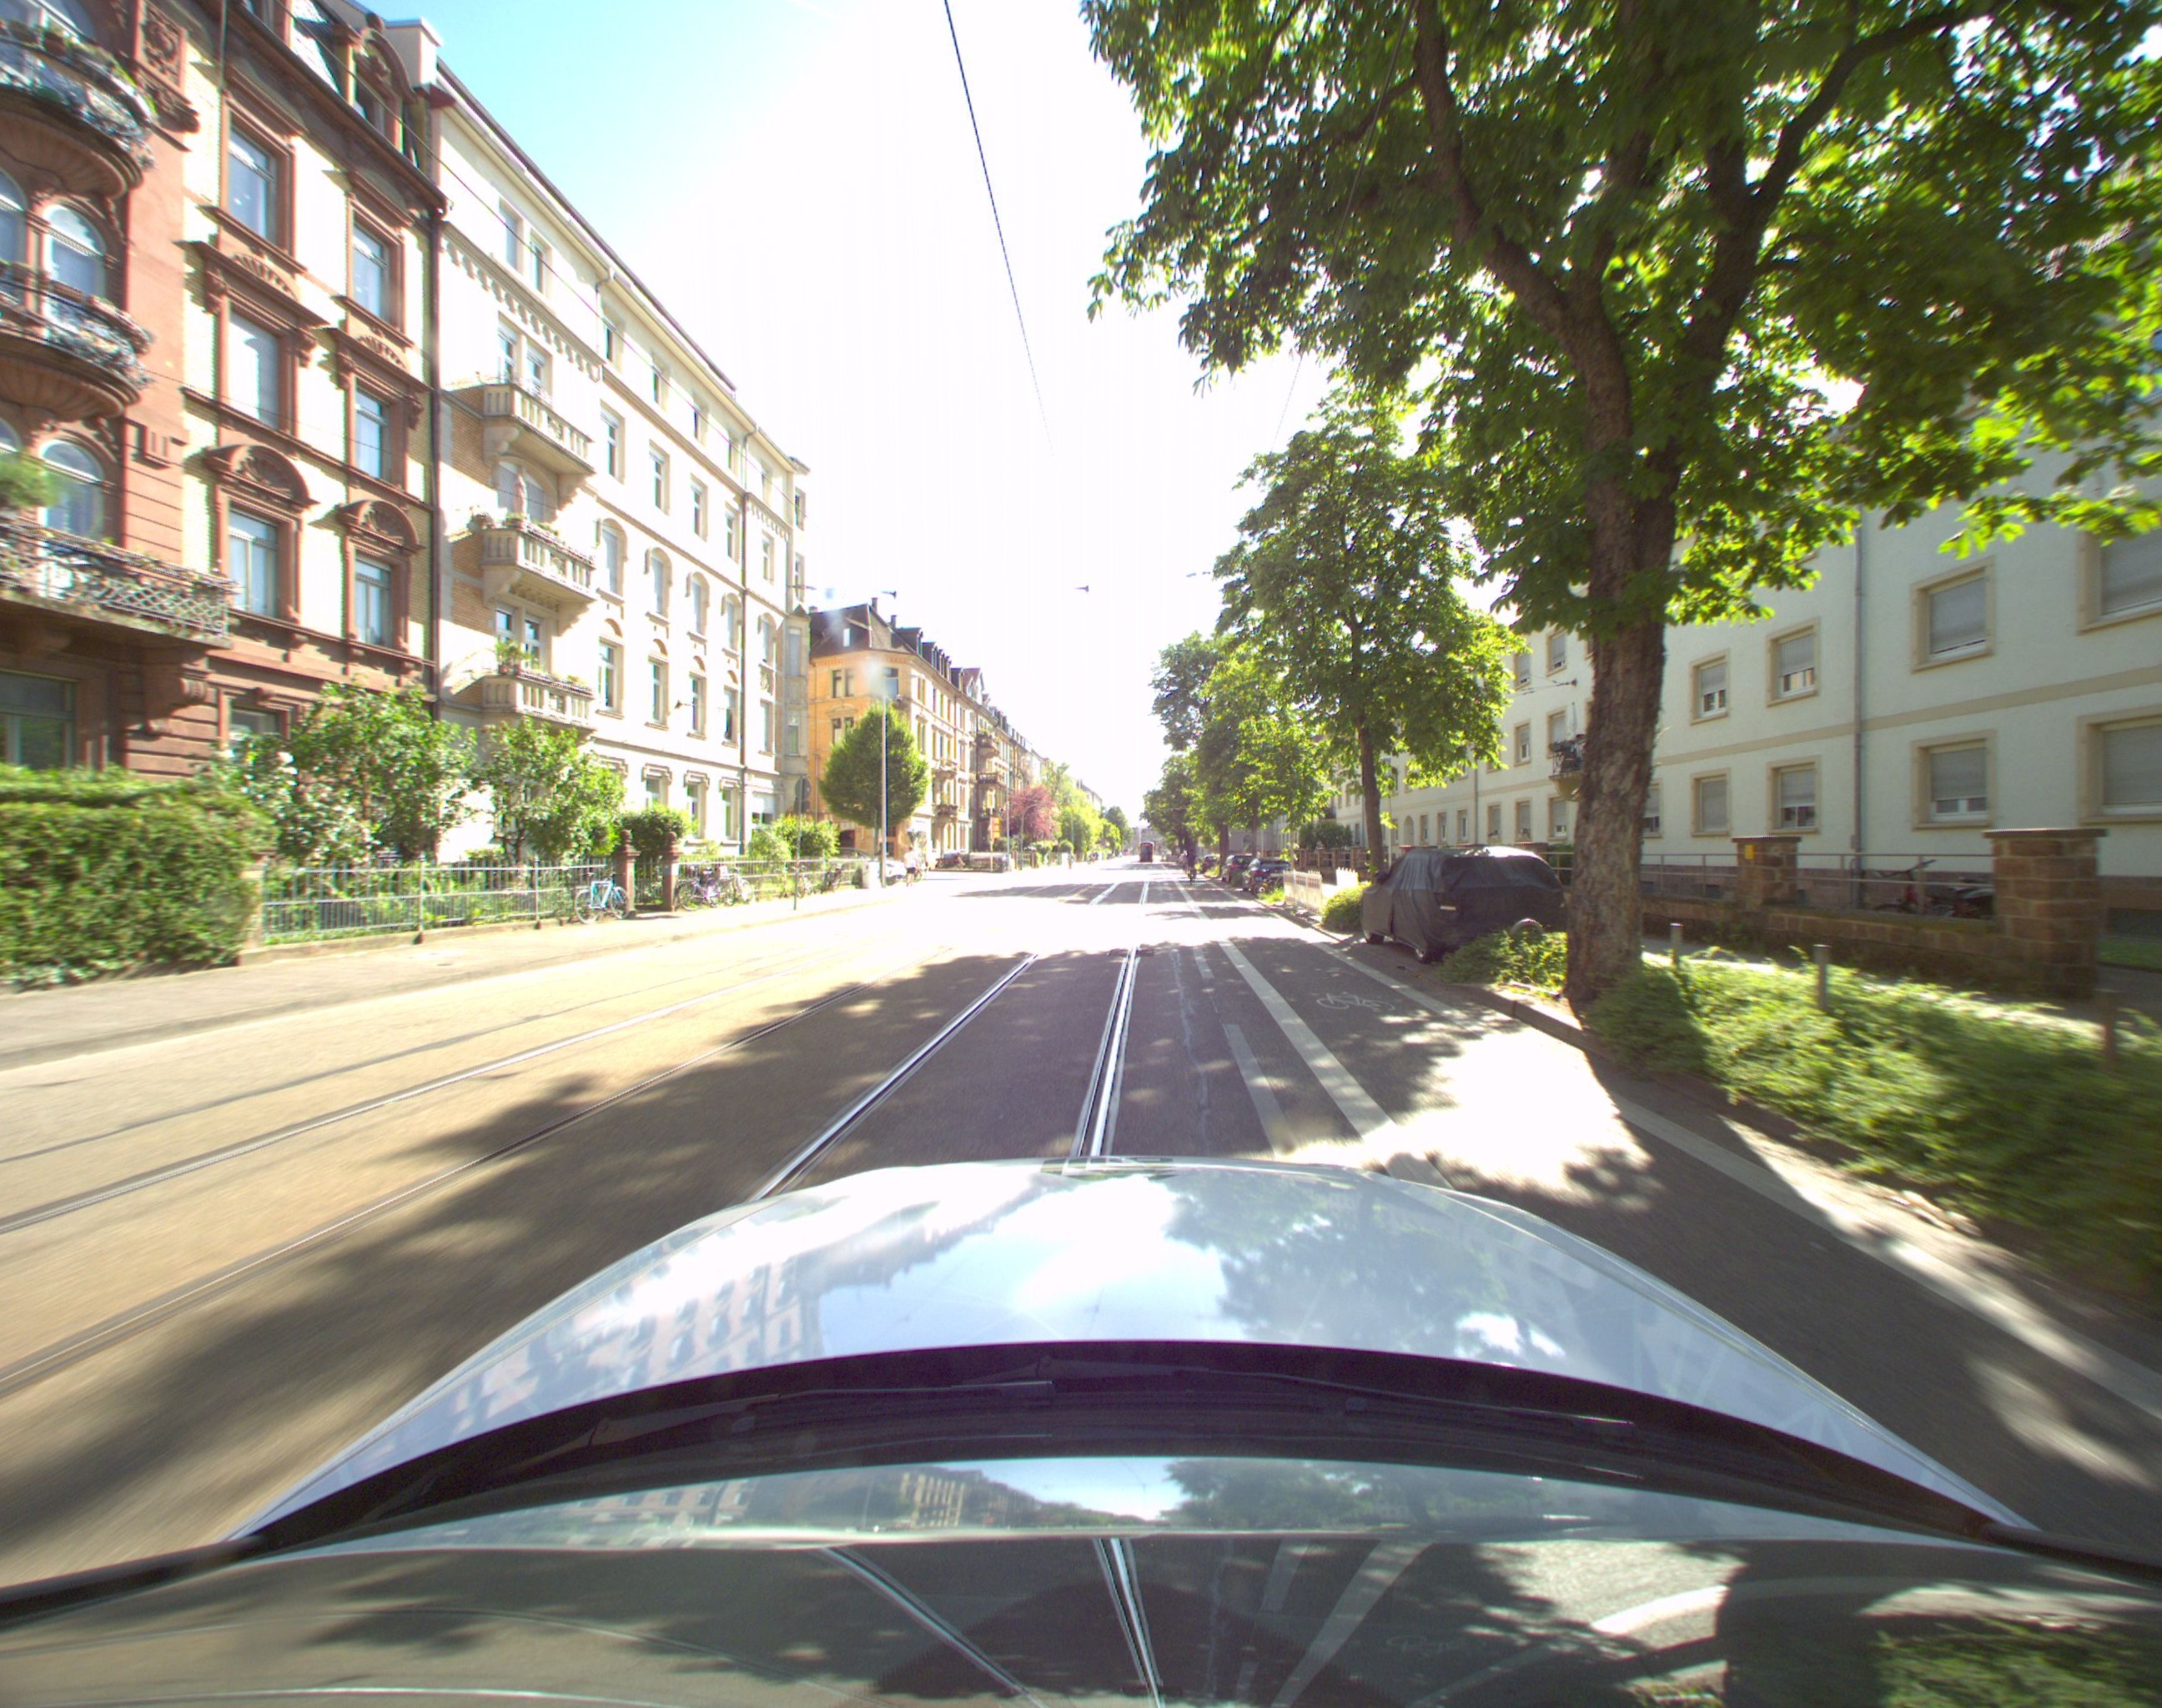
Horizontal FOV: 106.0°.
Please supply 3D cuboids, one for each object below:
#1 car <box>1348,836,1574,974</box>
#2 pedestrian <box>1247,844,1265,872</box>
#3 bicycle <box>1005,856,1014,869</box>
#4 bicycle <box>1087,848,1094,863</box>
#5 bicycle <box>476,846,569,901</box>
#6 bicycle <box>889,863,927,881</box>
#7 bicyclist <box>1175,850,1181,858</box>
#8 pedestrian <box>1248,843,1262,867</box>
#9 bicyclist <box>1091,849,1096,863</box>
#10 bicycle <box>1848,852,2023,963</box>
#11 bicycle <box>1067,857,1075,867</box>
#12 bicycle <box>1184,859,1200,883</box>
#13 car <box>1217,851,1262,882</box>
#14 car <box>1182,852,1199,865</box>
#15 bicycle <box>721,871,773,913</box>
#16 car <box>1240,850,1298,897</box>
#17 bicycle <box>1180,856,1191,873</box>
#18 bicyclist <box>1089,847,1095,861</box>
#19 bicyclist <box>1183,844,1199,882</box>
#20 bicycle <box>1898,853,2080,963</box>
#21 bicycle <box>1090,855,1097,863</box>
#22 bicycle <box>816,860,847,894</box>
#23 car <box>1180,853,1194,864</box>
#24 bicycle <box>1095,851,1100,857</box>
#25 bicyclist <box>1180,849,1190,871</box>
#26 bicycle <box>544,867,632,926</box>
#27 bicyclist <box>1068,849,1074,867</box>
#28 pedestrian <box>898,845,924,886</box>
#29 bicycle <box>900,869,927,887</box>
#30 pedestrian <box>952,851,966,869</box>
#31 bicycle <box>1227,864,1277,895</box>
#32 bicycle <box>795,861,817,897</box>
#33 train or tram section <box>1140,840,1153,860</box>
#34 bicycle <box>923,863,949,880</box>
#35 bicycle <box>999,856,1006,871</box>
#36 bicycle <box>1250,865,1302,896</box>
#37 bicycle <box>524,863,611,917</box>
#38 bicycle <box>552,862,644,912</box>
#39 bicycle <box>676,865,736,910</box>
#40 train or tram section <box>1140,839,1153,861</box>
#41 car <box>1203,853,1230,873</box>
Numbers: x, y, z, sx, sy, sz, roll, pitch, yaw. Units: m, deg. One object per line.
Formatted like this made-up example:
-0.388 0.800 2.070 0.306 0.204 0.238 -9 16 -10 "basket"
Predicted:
5.665 0.640 12.825 1.736 1.766 4.483 1 0 4 "car"
11.253 0.245 52.305 0.602 1.771 0.905 -3 0 -25 "pedestrian"
-5.537 0.666 63.124 0.333 1.001 1.872 1 0 5 "bicycle"
1.186 0.161 99.374 0.659 1.859 2.264 1 0 6 "bicycle"
-12.912 0.443 18.840 1.754 1.154 0.565 3 1 4 "bicycle"
-8.789 0.916 41.505 1.794 0.914 0.615 1 -2 -31 "bicycle"
16.622 -0.033 139.390 0.765 1.291 0.737 1 0 21 "bicyclist"
12.714 0.054 59.462 0.755 1.724 0.583 1 0 34 "pedestrian"
1.688 0.272 110.757 0.657 1.801 0.616 -2 -1 5 "bicyclist"
10.360 0.597 9.961 0.445 1.238 1.677 -1 0 4 "bicycle"
-0.926 0.756 76.186 0.458 0.926 2.206 -2 0 5 "bicycle"
5.505 0.839 40.404 0.688 1.112 1.721 1 0 5 "bicycle"
8.262 0.616 42.746 1.712 1.473 4.250 -1 0 4 "car"
13.280 0.494 98.731 1.622 1.436 4.667 -1 0 2 "car"
-9.147 1.028 22.356 0.560 1.033 1.770 1 1 4 "bicycle"
7.503 0.737 32.901 1.658 1.761 4.236 0 0 4 "car"
7.171 0.711 56.086 0.688 1.112 1.920 1 0 5 "bicycle"
1.311 -0.001 99.367 0.642 1.795 0.957 1 0 5 "bicyclist"
5.451 0.433 40.415 0.724 1.848 0.838 1 0 4 "bicyclist"
11.145 0.611 10.080 0.445 1.238 1.677 -1 0 4 "bicycle"
1.714 0.699 110.932 0.688 1.112 1.721 -2 0 5 "bicycle"
-8.380 0.768 27.311 0.567 1.033 1.750 0 2 -31 "bicycle"
15.181 0.615 117.122 1.740 1.420 4.005 -1 0 4 "car"
3.134 -0.047 154.140 0.633 1.069 1.824 1 0 -12 "bicycle"
7.158 0.395 56.161 0.632 1.468 0.617 1 0 5 "bicyclist"
-9.867 0.831 16.367 0.560 1.033 1.770 1 2 5 "bicycle"
-0.957 0.387 76.125 0.462 1.618 0.745 -2 0 5 "bicyclist"
-7.290 0.489 34.884 0.826 1.724 1.082 1 -1 1 "pedestrian"
-8.904 1.272 43.308 0.613 0.914 1.302 -1 -2 43 "bicycle"
-9.327 0.449 62.465 0.896 1.352 0.578 -2 0 6 "pedestrian"
6.258 0.942 29.840 1.752 1.078 0.434 1 0 6 "bicycle"
-8.846 0.789 26.166 0.565 1.033 1.756 4 1 -20 "bicycle"
11.533 -0.721 142.513 2.143 3.431 6.620 1 0 5 "train or tram section"
-8.014 0.963 45.023 1.299 0.914 0.615 1 -2 -31 "bicycle"
-5.946 0.724 61.442 0.369 1.126 0.810 1 0 5 "bicycle"
6.993 0.949 29.281 1.752 1.078 0.434 1 0 6 "bicycle"
-11.056 0.767 17.549 1.567 1.033 0.480 3 1 4 "bicycle"
-11.073 0.747 18.684 1.740 1.033 0.565 3 1 4 "bicycle"
-9.332 0.811 20.335 0.560 1.033 1.770 1 1 4 "bicycle"
10.970 -0.674 135.873 2.143 3.431 6.620 1 0 5 "train or tram section"
10.464 0.642 63.183 1.779 1.464 4.050 -1 0 5 "car"
